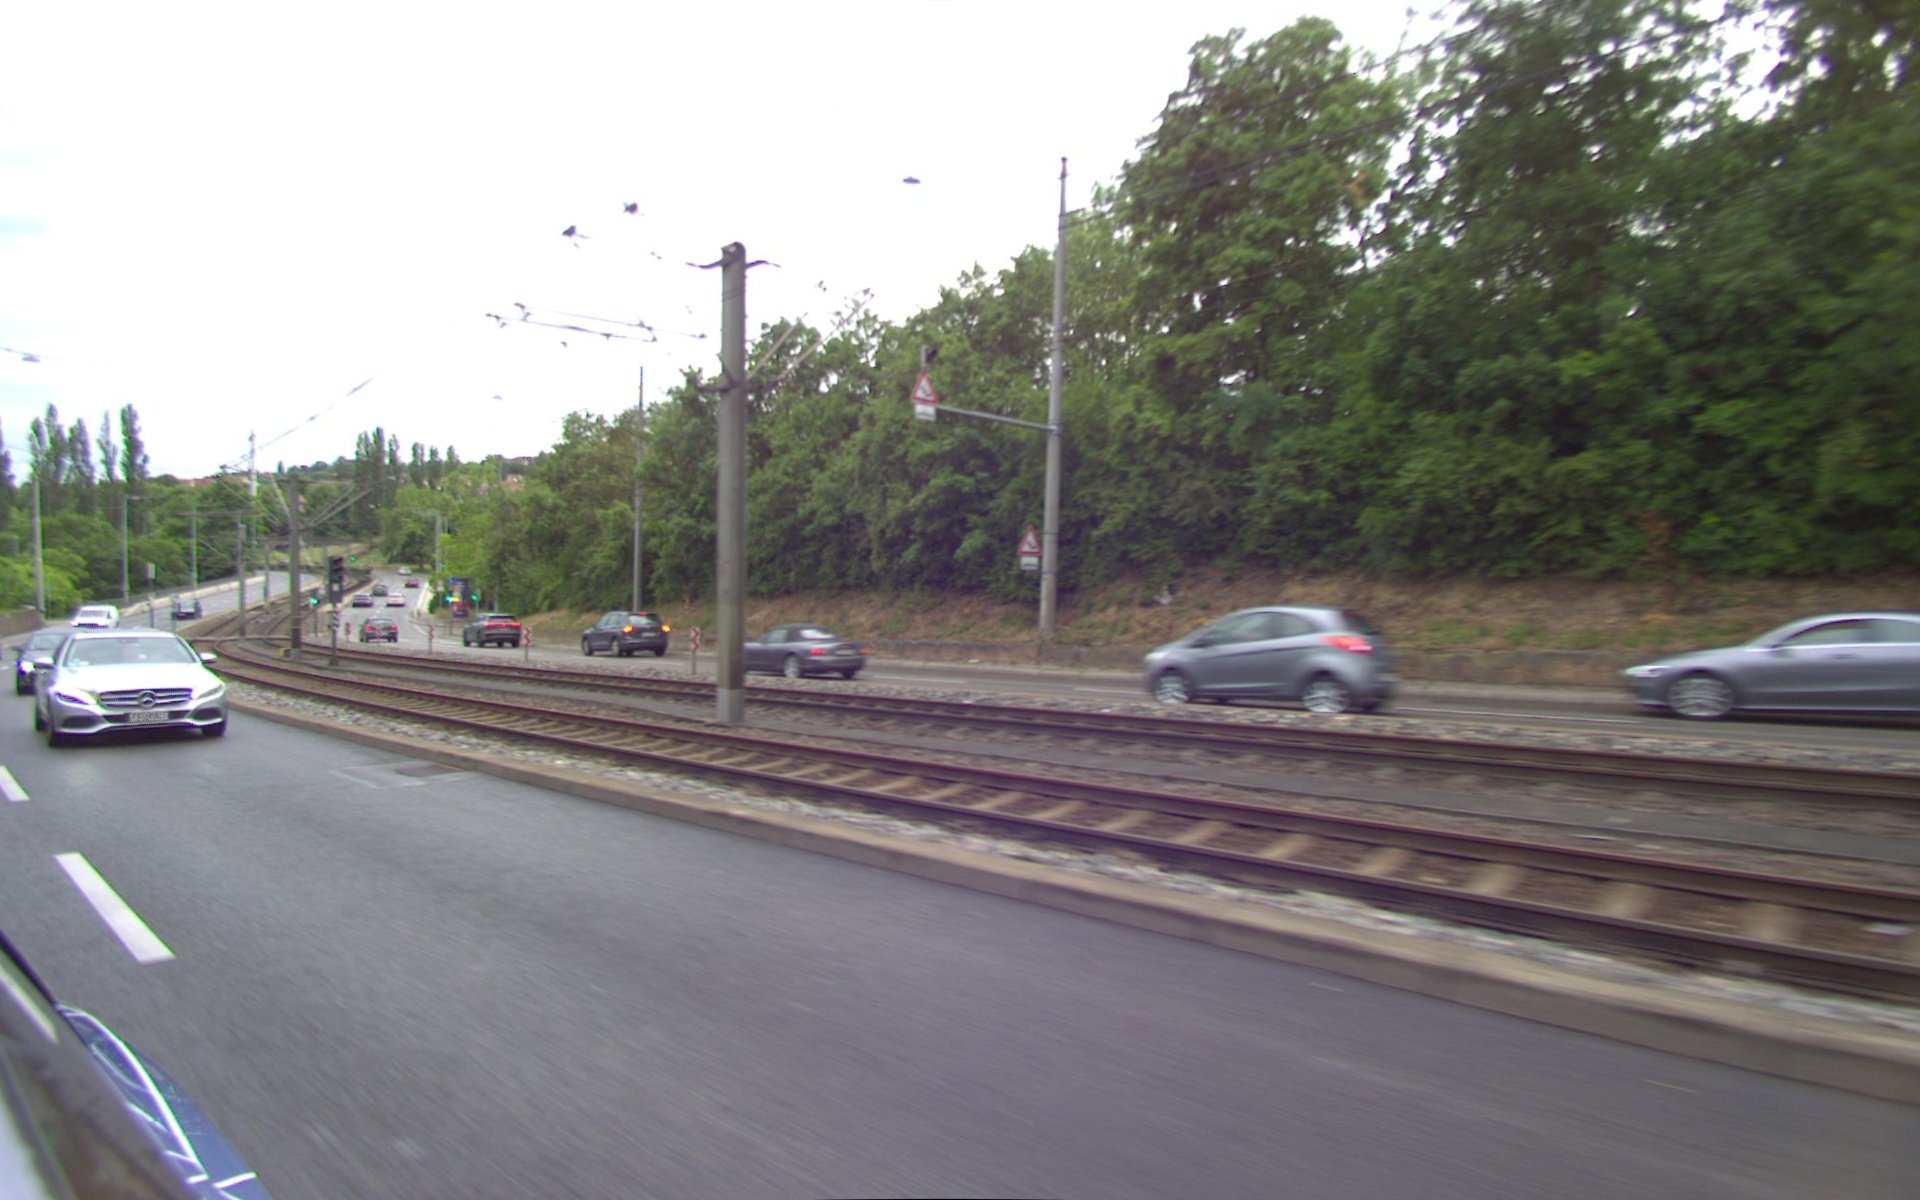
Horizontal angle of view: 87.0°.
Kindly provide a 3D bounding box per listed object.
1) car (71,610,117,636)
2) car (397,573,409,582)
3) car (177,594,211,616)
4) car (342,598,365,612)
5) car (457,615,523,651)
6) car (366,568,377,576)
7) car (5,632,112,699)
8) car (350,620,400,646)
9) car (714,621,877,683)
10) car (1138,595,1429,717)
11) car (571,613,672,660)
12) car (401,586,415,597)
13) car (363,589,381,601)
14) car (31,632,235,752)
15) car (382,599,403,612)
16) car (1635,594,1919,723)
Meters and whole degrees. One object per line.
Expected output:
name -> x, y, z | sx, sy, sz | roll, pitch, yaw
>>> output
car -> -63.864, 1.689, 74.674 | 1.739, 1.830, 4.012 | -1, -1, -28
car -> -105.448, -4.283, 191.491 | 1.796, 1.526, 4.544 | 0, 3, -31
car -> -67.456, 0.473, 89.187 | 1.739, 1.830, 4.012 | -1, -1, -28
car -> -66.269, 0.528, 110.606 | 1.835, 1.449, 4.871 | -1, 2, -28
car -> -23.007, 1.583, 49.457 | 1.762, 1.682, 4.747 | 0, -1, -40
car -> -125.437, -6.017, 215.813 | 1.941, 1.609, 5.201 | 1, 2, -30
car -> -20.817, 1.444, 23.366 | 1.711, 1.362, 4.004 | -1, -1, -43
car -> -33.806, 1.889, 58.481 | 1.685, 1.425, 4.037 | -1, -1, -42
car -> -3.760, 1.132, 22.710 | 3.960, 1.268, 1.526 | -1, -3, 44
car -> 4.462, 0.756, 14.287 | 3.621, 1.502, 1.521 | -2, -3, 43
car -> -12.356, 1.326, 36.804 | 4.413, 1.620, 1.687 | -2, -3, 45
car -> -82.083, -1.292, 150.459 | 1.692, 1.469, 4.290 | 0, 2, -27
car -> -75.177, -0.637, 129.396 | 1.611, 1.395, 3.904 | 2, -1, -36
car -> -11.420, 1.132, 13.876 | 1.845, 1.366, 4.063 | 1, -2, -44
car -> -63.450, 0.654, 113.041 | 1.794, 1.390, 4.718 | 1, -1, -32
car -> 11.257, 0.694, 12.505 | 4.658, 1.473, 1.797 | -2, -2, 41
